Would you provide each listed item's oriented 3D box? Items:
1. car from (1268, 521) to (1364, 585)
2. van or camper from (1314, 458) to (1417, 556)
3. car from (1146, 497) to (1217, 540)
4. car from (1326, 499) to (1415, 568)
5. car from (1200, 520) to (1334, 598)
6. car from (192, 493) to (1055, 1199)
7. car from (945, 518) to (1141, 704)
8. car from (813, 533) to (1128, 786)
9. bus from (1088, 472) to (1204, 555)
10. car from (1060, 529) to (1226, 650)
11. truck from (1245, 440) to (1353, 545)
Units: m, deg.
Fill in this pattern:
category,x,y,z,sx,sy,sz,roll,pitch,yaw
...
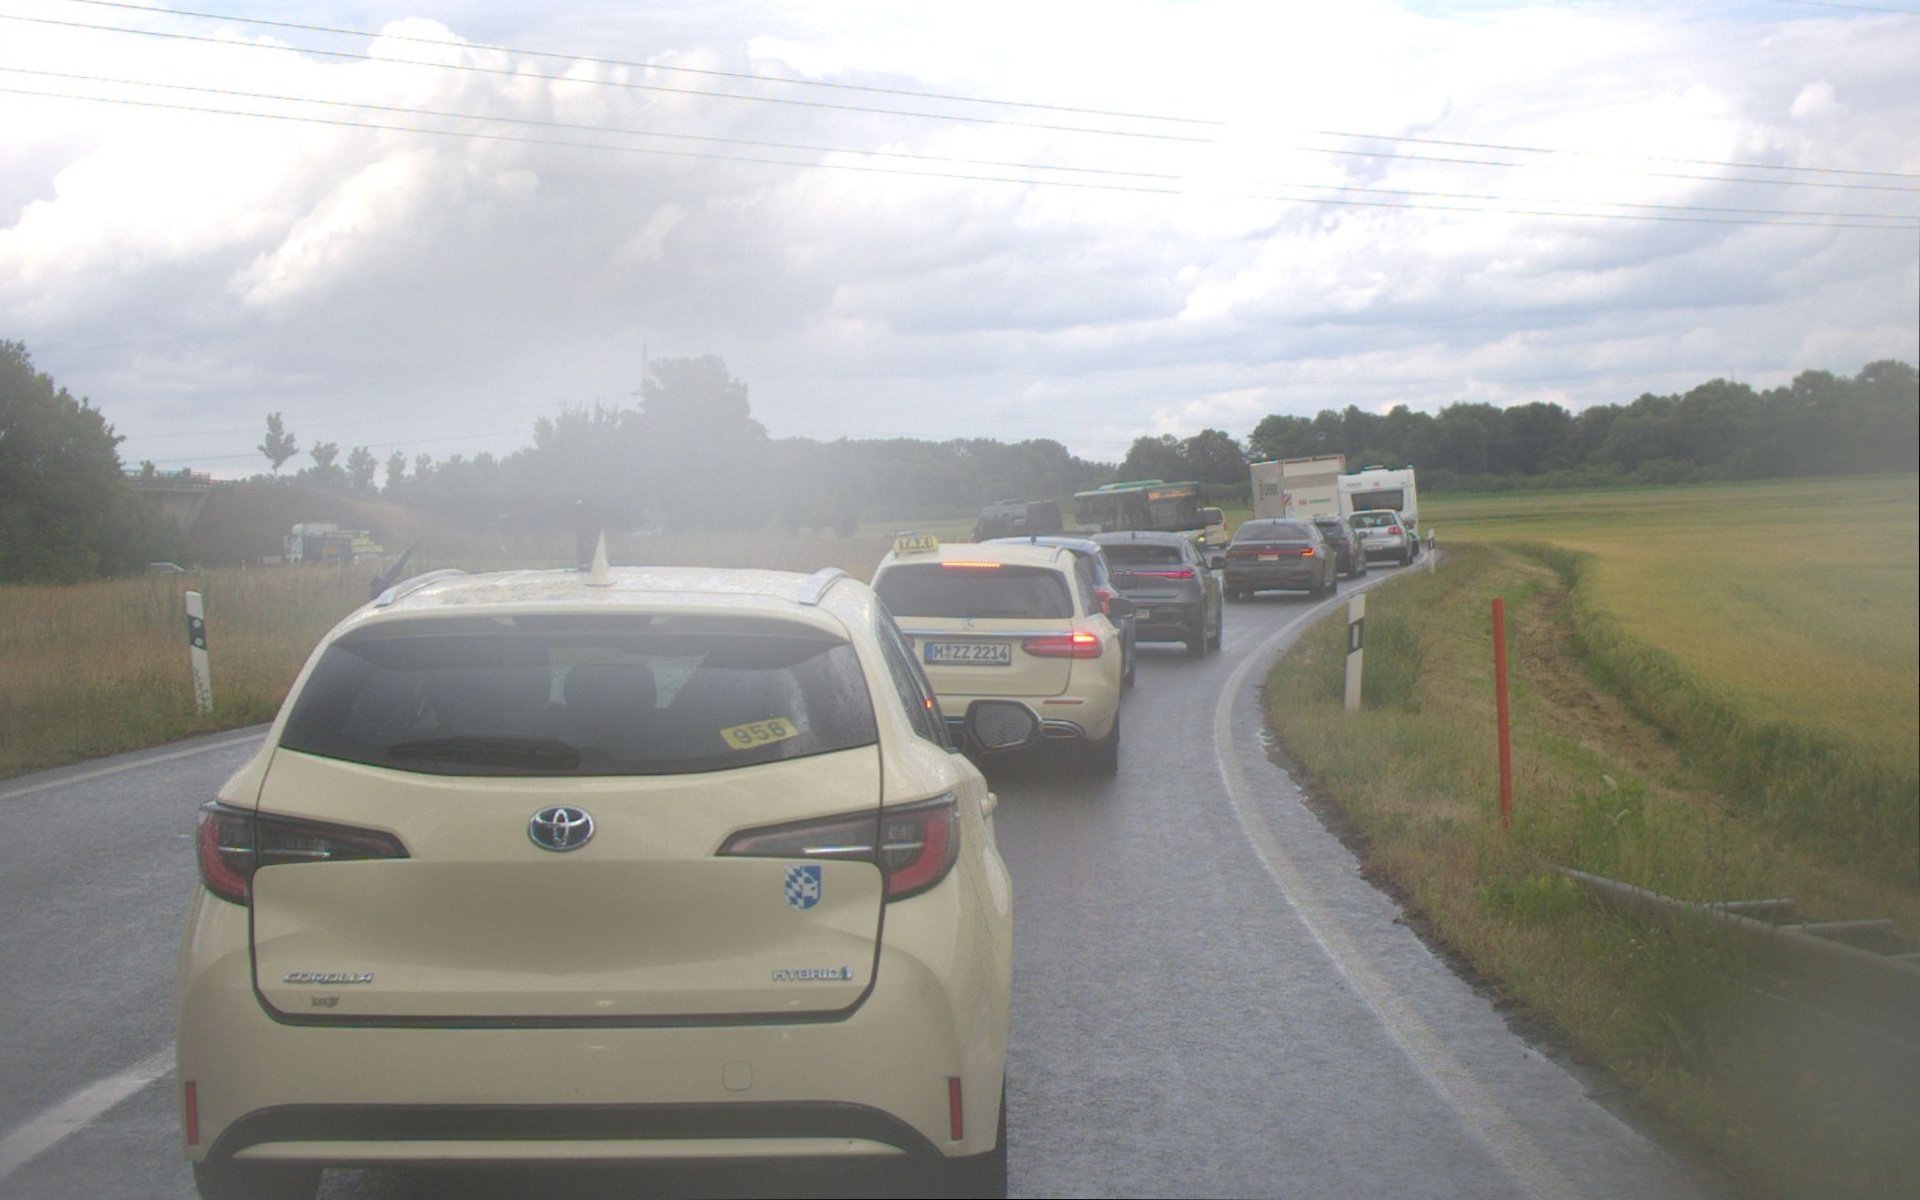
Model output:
category,x,y,z,sx,sy,sz,roll,pitch,yaw
car,8.172,-1.057,78.696,1.826,1.408,3.736,0,0,11
van or camper,12.298,-2.815,104.680,2.537,2.886,6.743,0,1,2
car,9.714,-3.566,151.116,1.882,1.767,4.161,0,0,-14
car,10.681,-1.710,89.360,1.961,1.723,3.736,0,0,12
car,5.815,-0.752,64.727,1.961,1.408,4.390,0,0,12
car,-0.737,0.573,8.352,1.612,1.557,3.739,0,0,-3
car,0.839,0.087,32.613,1.613,1.653,3.738,0,0,5
car,0.172,0.314,23.009,1.841,1.487,4.608,0,1,3
bus,7.565,-3.575,141.993,2.757,3.286,12.505,0,1,-6
car,2.293,-0.133,42.311,1.613,1.408,3.737,0,0,9
truck,12.993,-4.076,132.326,3.126,3.839,7.387,0,0,-2
